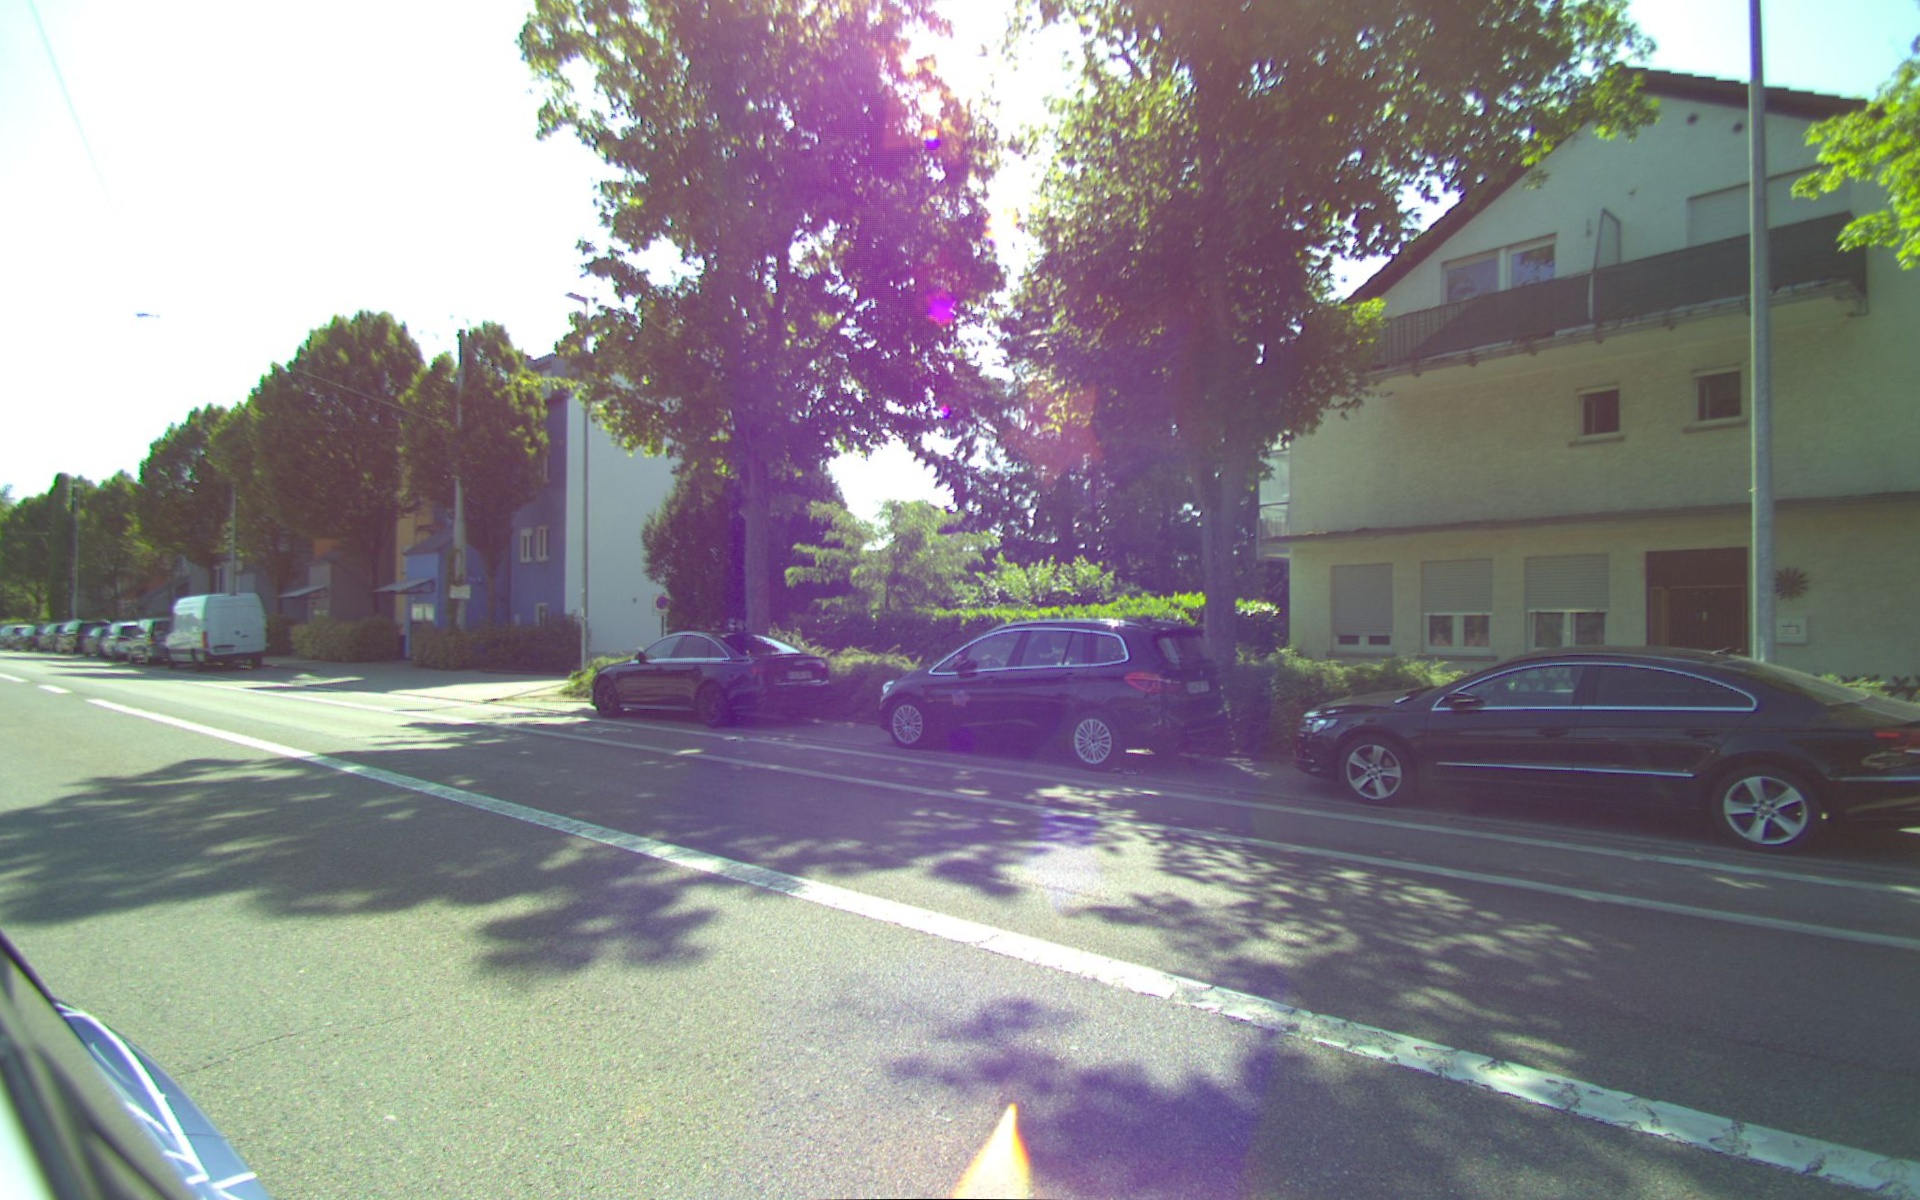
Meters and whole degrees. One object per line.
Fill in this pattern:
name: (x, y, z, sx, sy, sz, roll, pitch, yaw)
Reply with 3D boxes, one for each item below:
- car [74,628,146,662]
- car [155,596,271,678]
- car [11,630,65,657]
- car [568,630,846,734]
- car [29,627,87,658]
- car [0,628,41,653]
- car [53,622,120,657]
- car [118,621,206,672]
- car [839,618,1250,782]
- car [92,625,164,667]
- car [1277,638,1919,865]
car: (-41.693, 2.178, 49.614, 4.069, 1.466, 1.849, -1, 1, 38)
car: (-27.605, 1.315, 37.284, 7.084, 2.697, 1.973, -2, 1, 42)
car: (-54.648, 2.571, 59.980, 4.207, 1.481, 1.661, -1, -1, 38)
car: (-4.272, 1.241, 16.690, 4.903, 1.477, 1.822, -1, -2, 38)
car: (-49.978, 2.309, 56.049, 4.159, 1.619, 1.661, -1, -1, 38)
car: (-60.119, 2.559, 64.229, 4.826, 1.457, 1.662, -1, -1, 35)
car: (-45.814, 2.041, 53.041, 4.343, 1.741, 1.812, -1, 0, 38)
car: (-33.652, 1.910, 42.617, 4.964, 1.879, 1.973, -2, 2, 41)
car: (0.827, 1.045, 12.272, 4.891, 1.618, 1.743, -1, -2, 41)
car: (-38.007, 2.053, 46.189, 4.539, 1.715, 1.829, -1, 2, 42)
car: (5.267, 1.043, 8.362, 4.779, 1.390, 1.673, -2, -1, 41)
